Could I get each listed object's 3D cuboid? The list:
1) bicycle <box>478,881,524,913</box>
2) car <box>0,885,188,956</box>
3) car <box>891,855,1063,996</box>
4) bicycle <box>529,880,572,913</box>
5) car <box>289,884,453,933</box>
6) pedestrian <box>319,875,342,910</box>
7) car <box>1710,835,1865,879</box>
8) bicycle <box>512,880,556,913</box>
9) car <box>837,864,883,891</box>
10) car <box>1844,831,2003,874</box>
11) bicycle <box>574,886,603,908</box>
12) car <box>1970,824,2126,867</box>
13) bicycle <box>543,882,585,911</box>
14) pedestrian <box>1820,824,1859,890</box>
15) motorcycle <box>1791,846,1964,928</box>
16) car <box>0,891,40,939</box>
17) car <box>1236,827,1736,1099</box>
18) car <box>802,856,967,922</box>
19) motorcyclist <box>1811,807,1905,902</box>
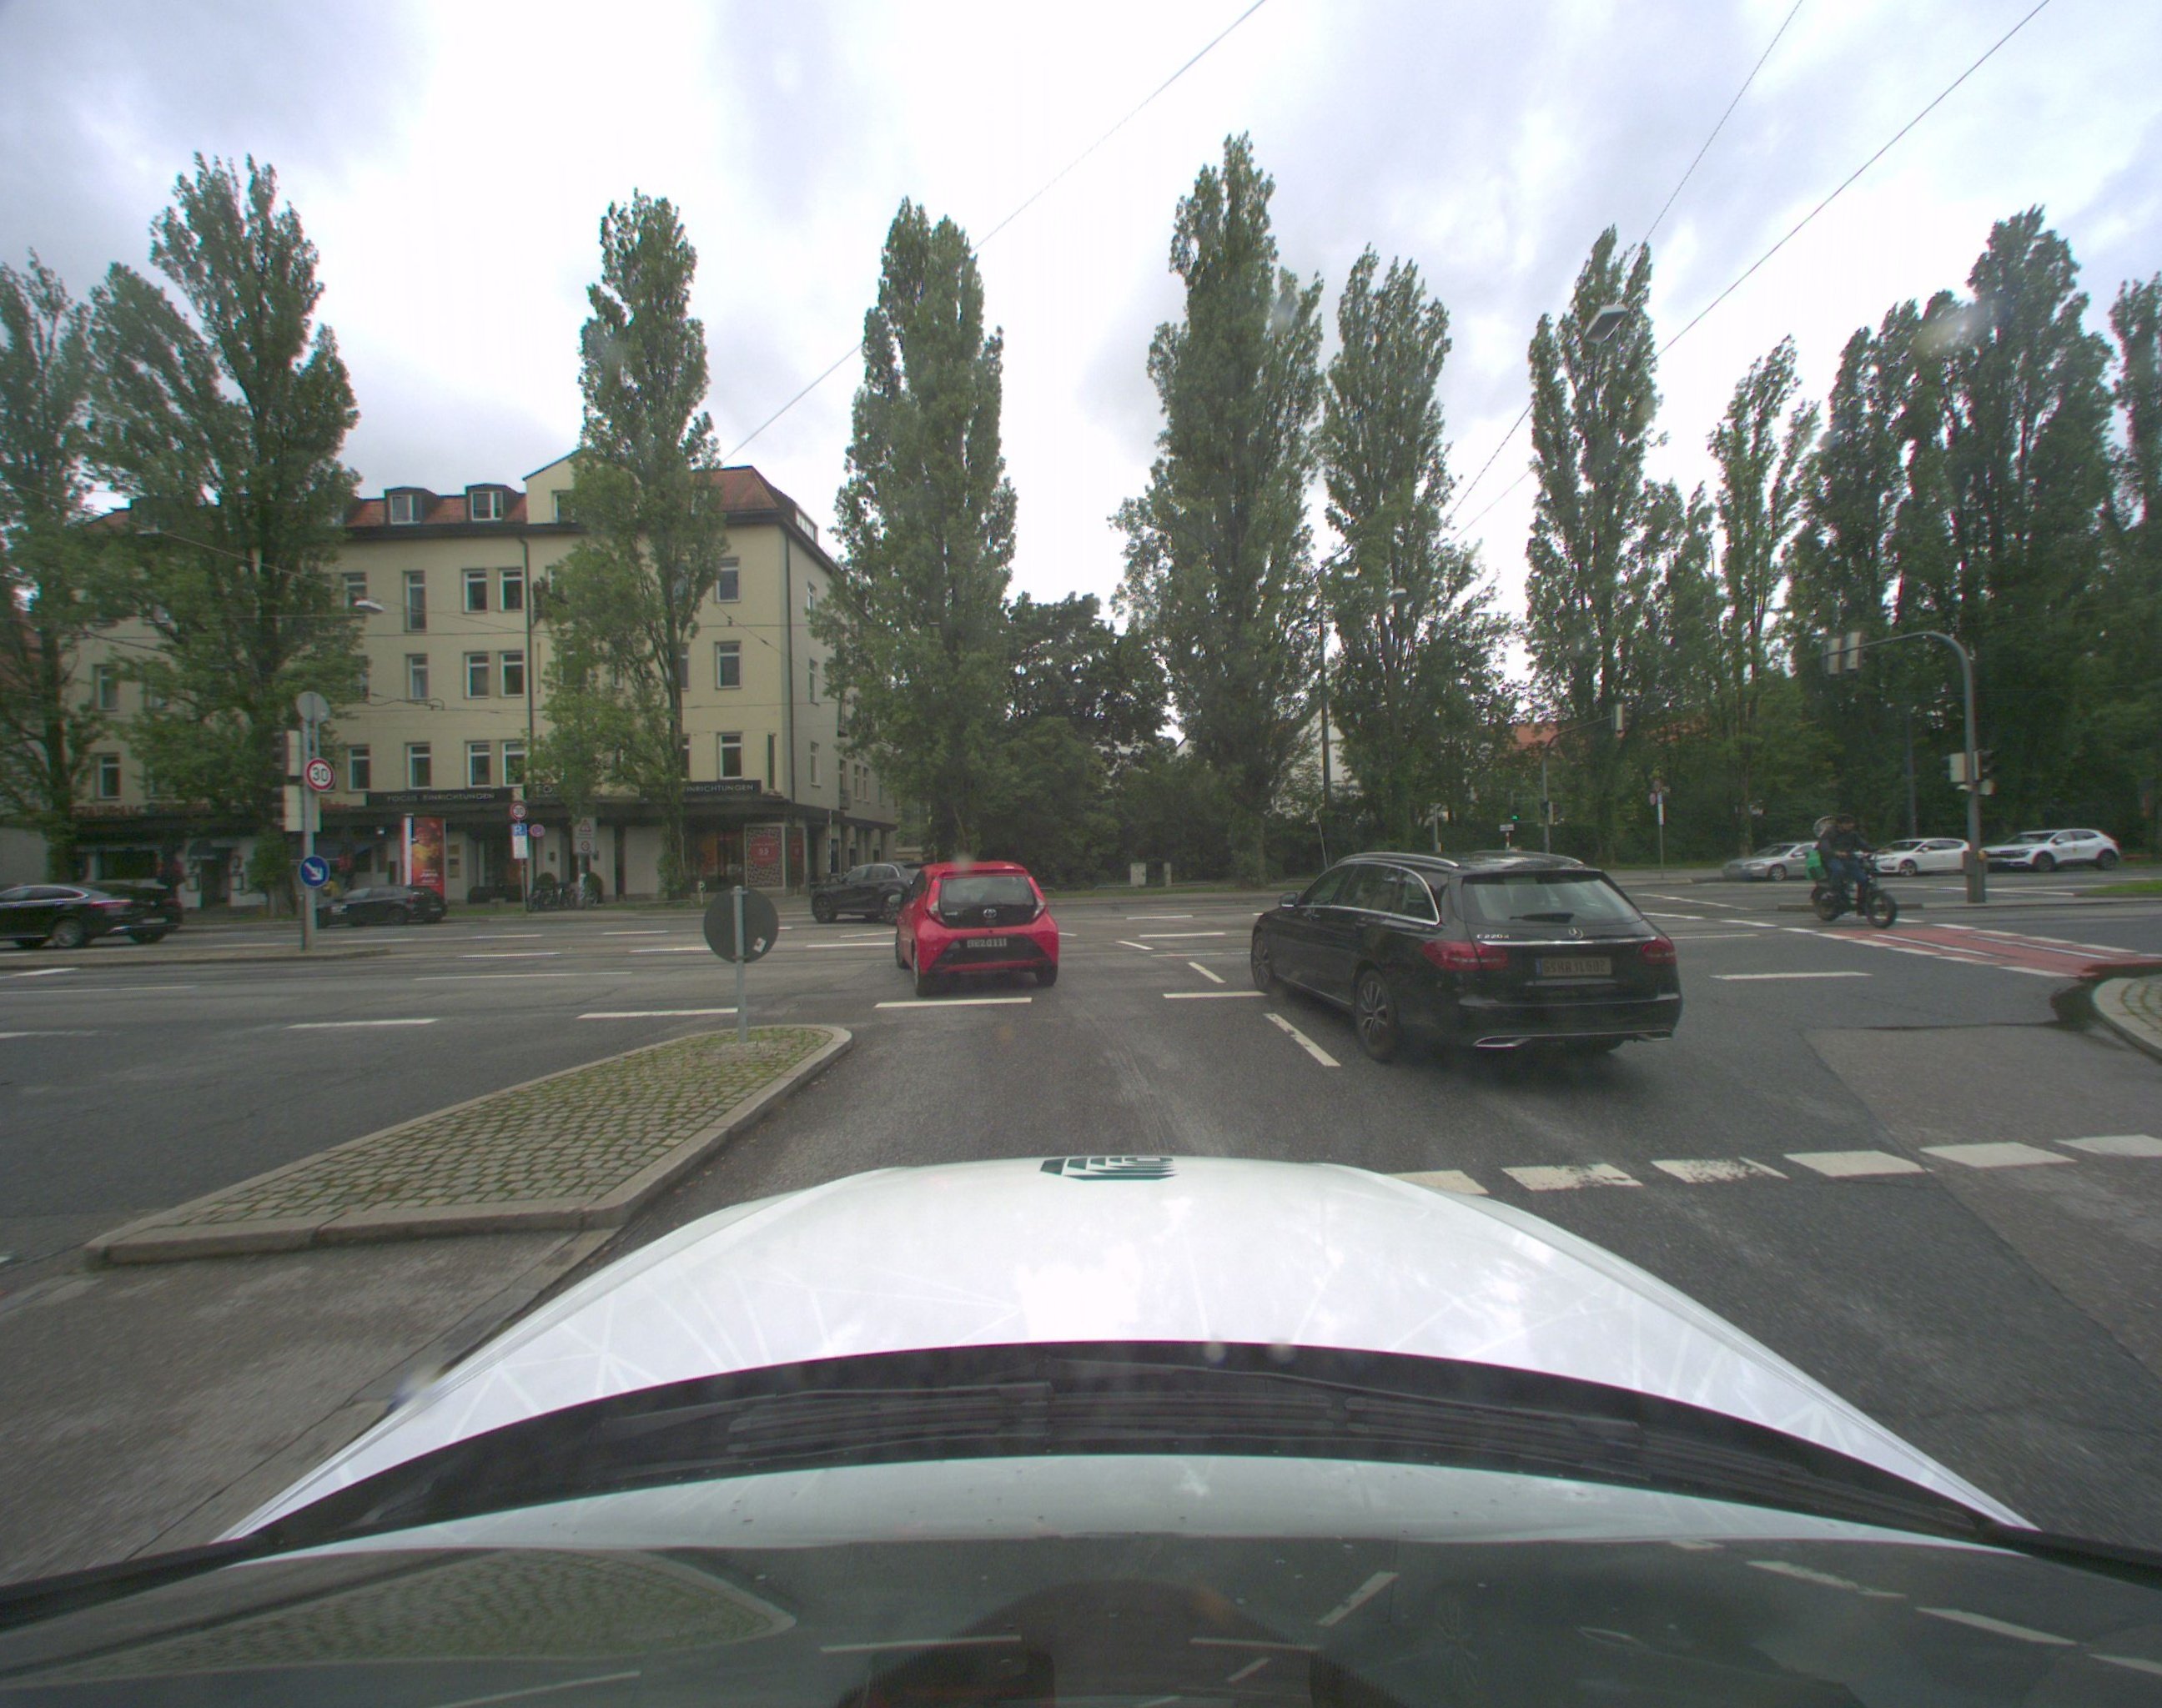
[{"bbox_3d":[-23.243,1.714,32.675,0.493,1.185,1.888,-2,0,-1],"label":"bicycle"},{"bbox_3d":[-25.499,1.660,20.312,4.544,1.549,1.742,-2,0,1],"label":"car"},{"bbox_3d":[-1.477,0.776,10.433,1.632,1.440,3.357,-2,0,-17],"label":"car"},{"bbox_3d":[-21.196,1.685,32.567,0.493,1.185,1.888,-2,0,-1],"label":"bicycle"},{"bbox_3d":[-24.544,1.849,28.260,3.977,1.466,1.803,-2,-1,-3],"label":"car"},{"bbox_3d":[-34.134,1.753,37.032,0.492,1.562,0.575,0,-1,2],"label":"pedestrian"},{"bbox_3d":[26.677,0.110,30.850,4.325,1.486,1.786,-2,-1,-1],"label":"car"},{"bbox_3d":[-21.892,1.687,32.652,0.493,1.185,1.888,-2,0,-1],"label":"bicycle"},{"bbox_3d":[-13.067,1.345,48.293,1.721,1.442,3.997,-2,0,-2],"label":"car"},{"bbox_3d":[32.107,-0.048,31.131,4.232,1.486,1.786,-2,-1,-1],"label":"car"},{"bbox_3d":[-20.761,1.805,34.344,0.386,0.883,1.370,-2,0,-1],"label":"bicycle"},{"bbox_3d":[37.344,-0.312,31.509,4.117,1.486,1.784,-2,-1,-4],"label":"car"},{"bbox_3d":[-20.670,1.693,32.614,0.493,1.082,1.888,-2,0,-1],"label":"bicycle"},{"bbox_3d":[19.561,0.091,21.015,0.693,1.663,0.555,-1,-2,41],"label":"pedestrian"},{"bbox_3d":[12.281,0.492,12.670,0.627,1.169,2.027,0,-1,-3],"label":"motorcycle"},{"bbox_3d":[-39.303,2.178,28.136,4.276,1.612,1.805,-2,0,0],"label":"car"},{"bbox_3d":[2.847,0.633,7.140,1.859,1.549,4.698,-1,0,-3],"label":"car"},{"bbox_3d":[-4.961,0.876,20.422,3.948,1.486,1.798,-2,-1,35],"label":"car"},{"bbox_3d":[12.284,0.011,12.902,0.617,1.443,0.881,0,-1,-3],"label":"motorcyclist"}]
